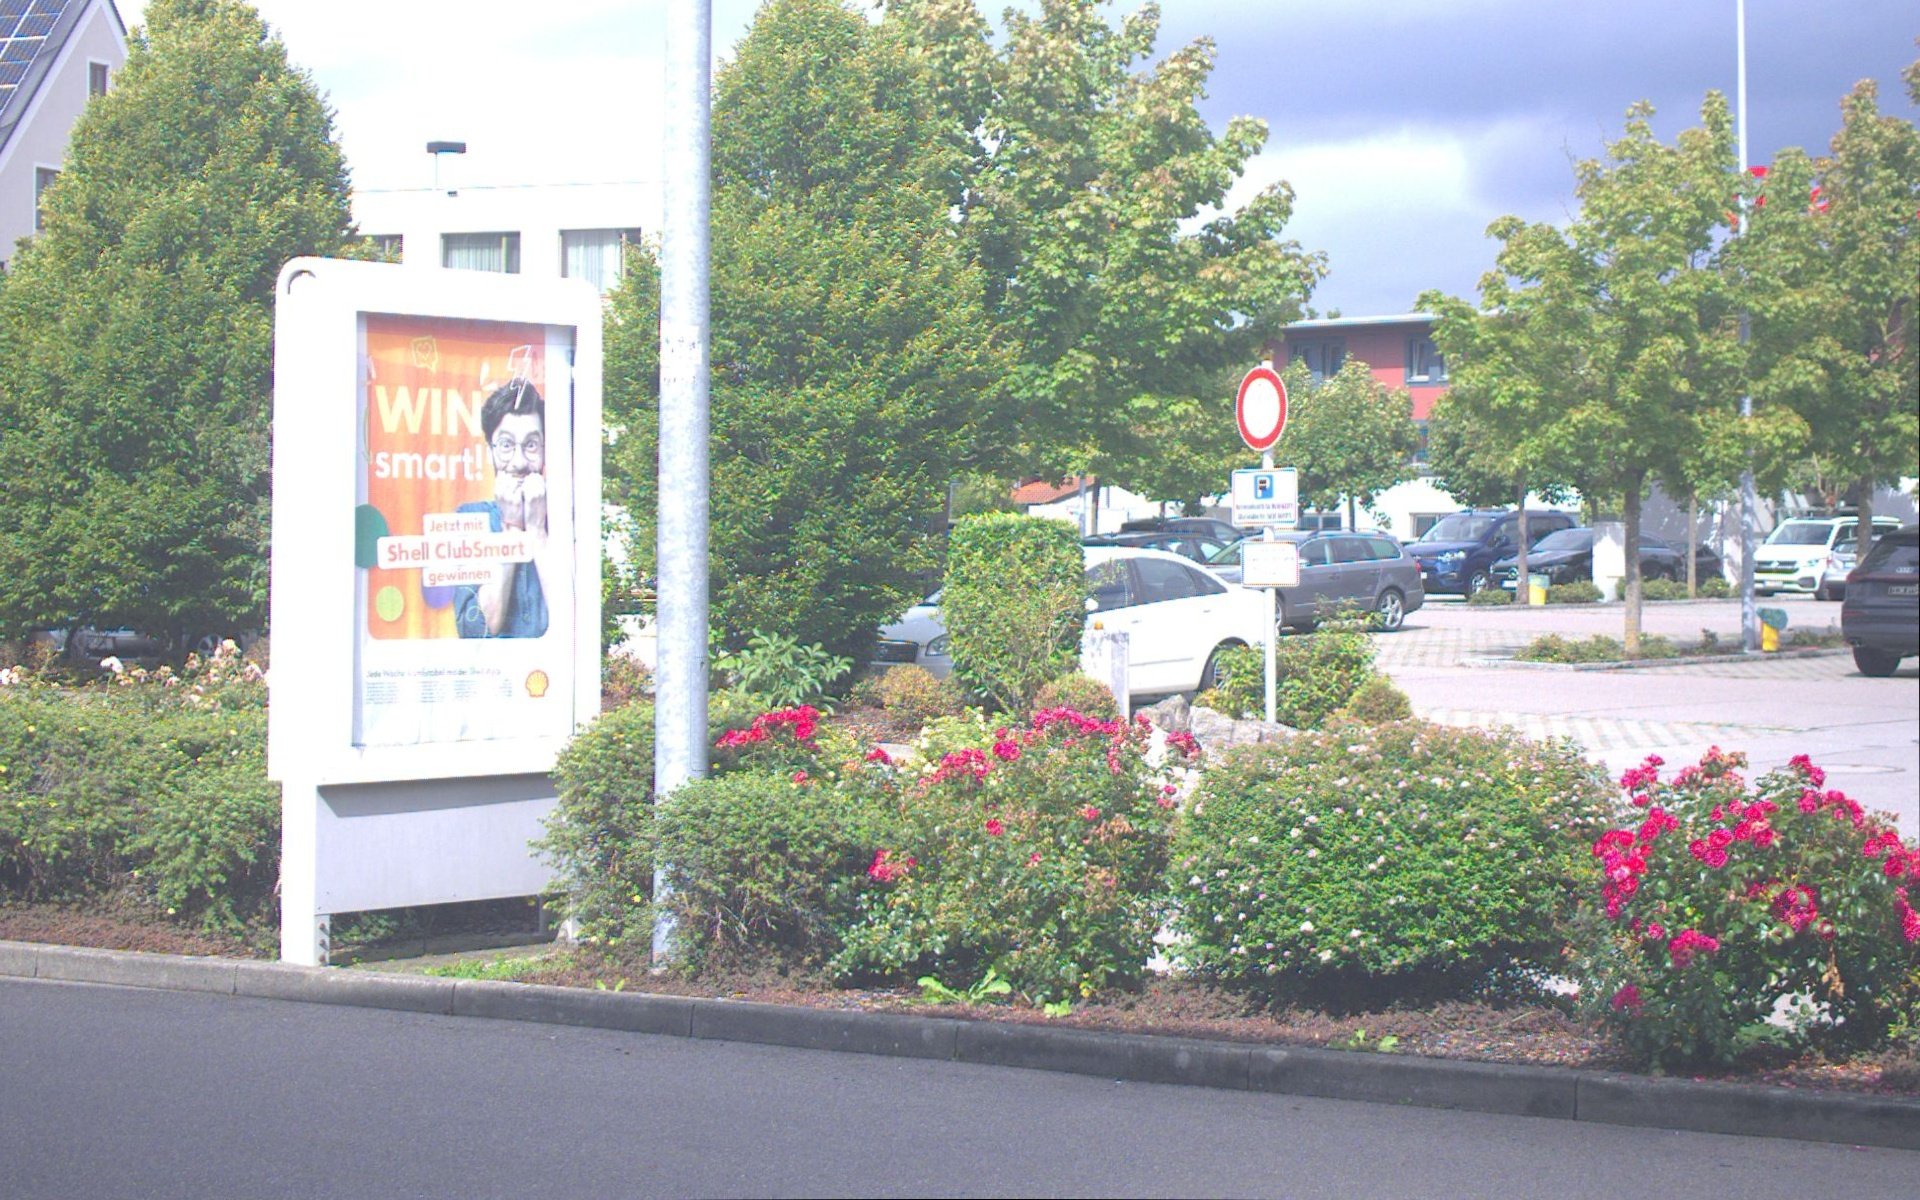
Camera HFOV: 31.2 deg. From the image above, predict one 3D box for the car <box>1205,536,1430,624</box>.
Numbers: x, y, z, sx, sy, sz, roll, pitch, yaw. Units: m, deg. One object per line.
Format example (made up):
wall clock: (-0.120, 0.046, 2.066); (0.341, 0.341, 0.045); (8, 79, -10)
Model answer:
car: (5.193, -0.291, 49.719); (3.218, 1.224, 1.505); (0, 1, -44)

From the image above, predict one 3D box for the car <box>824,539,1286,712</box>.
car: (0.894, 0.202, 29.930); (4.332, 1.399, 1.370); (0, 1, -44)

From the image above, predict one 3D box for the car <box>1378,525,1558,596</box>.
car: (9.877, -0.759, 66.786); (3.379, 1.316, 1.747); (0, 1, -44)

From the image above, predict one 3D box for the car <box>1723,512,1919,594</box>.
car: (20.238, -1.087, 80.644); (4.864, 1.827, 2.184); (0, 1, -43)

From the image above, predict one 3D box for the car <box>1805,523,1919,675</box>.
car: (11.124, -0.009, 36.733); (4.491, 1.543, 1.885); (0, 1, -43)

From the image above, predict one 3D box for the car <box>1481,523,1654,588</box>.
car: (11.506, -0.841, 65.038); (3.409, 1.174, 1.485); (0, 1, -44)
